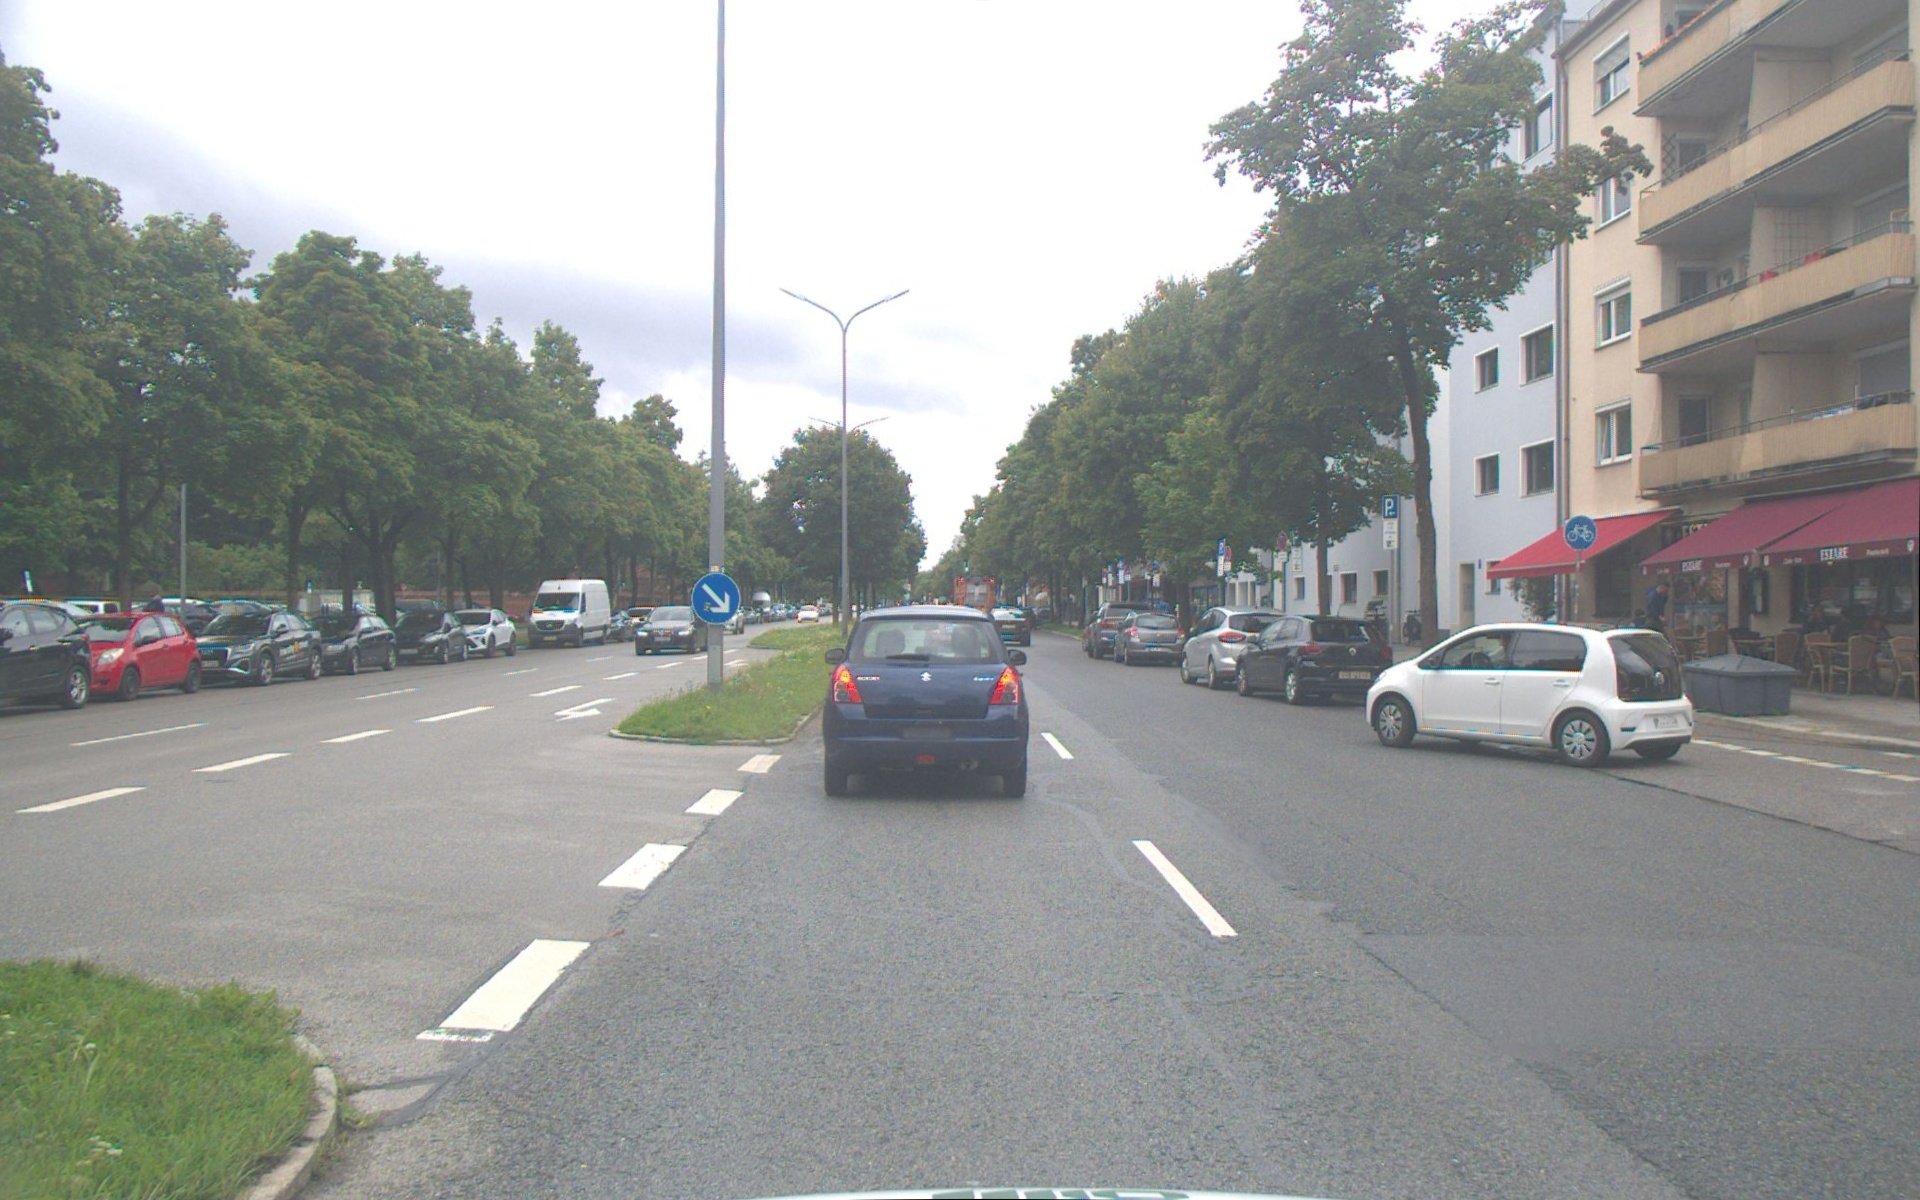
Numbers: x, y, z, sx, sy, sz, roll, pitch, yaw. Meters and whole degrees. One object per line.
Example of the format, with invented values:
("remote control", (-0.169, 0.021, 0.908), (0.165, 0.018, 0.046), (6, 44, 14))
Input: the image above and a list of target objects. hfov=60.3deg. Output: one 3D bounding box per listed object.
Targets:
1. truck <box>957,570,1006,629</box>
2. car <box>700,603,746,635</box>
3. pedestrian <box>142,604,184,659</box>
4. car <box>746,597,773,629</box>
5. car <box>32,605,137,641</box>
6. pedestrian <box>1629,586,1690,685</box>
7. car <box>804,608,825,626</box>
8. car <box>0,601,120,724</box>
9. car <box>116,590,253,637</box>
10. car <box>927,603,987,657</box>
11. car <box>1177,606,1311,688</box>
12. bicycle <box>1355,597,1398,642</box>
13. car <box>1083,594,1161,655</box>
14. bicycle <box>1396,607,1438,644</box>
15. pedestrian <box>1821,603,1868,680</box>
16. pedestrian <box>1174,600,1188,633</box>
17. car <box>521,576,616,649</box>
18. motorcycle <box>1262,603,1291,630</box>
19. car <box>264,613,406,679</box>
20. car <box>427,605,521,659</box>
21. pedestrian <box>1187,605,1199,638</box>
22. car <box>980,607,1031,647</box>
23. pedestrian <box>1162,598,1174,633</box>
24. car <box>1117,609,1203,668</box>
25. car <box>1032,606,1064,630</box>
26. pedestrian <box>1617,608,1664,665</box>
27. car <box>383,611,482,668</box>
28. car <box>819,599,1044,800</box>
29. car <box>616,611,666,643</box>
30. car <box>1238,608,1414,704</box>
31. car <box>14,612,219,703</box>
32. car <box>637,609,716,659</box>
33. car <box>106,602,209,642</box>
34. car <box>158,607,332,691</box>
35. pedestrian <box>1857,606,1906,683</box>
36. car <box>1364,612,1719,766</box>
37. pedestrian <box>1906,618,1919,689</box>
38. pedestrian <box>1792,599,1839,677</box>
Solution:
("truck", (1.335, -0.011, 109.722), (2.979, 3.619, 13.672), (0, 0, 0))
("car", (-12.570, 0.989, 87.786), (1.813, 1.628, 4.402), (-2, 0, -1))
("pedestrian", (-22.360, 0.877, 46.403), (0.778, 1.521, 0.856), (0, 0, -1))
("car", (-19.143, 1.250, 157.933), (2.142, 3.005, 6.187), (1, 0, -4))
("car", (-40.134, 1.059, 75.893), (3.903, 1.624, 1.771), (0, 0, 4))
("pedestrian", (14.052, 0.711, 33.248), (0.854, 1.963, 0.757), (0, 0, -17))
("car", (-13.226, 1.542, 150.622), (1.726, 1.564, 4.311), (-3, 0, -4))
("car", (-14.375, 0.899, 24.507), (1.785, 1.729, 4.237), (0, -1, -2))
("car", (-26.855, 0.469, 57.367), (3.905, 1.598, 1.814), (0, 0, 0))
("car", (-0.138, 0.863, 49.449), (1.684, 1.527, 4.299), (1, 0, -1))
("car", (5.681, 0.904, 33.607), (1.792, 1.549, 4.521), (0, 0, -2))
("bicycle", (13.824, 0.650, 54.971), (0.688, 1.432, 2.592), (-2, 0, -1))
("car", (4.955, 0.731, 51.207), (1.792, 1.777, 4.506), (0, 0, -2))
("bicycle", (14.011, 0.782, 50.743), (0.609, 1.064, 2.195), (-4, 0, -1))
("pedestrian", (14.941, 0.695, 27.932), (0.527, 1.290, 0.486), (0, 0, -2))
("pedestrian", (11.092, 0.820, 82.998), (0.537, 1.658, 0.641), (-1, 0, -1))
("car", (-15.392, 0.455, 65.481), (2.096, 2.690, 7.104), (-1, 0, -1))
("motorcycle", (13.449, 0.681, 70.328), (0.745, 1.105, 2.199), (0, 0, -1))
("car", (-14.961, 1.077, 39.816), (1.784, 1.434, 4.000), (-2, 0, 1))
("car", (-15.105, 1.010, 51.607), (1.785, 1.554, 4.297), (-2, -1, -2))
("pedestrian", (11.749, 1.076, 83.413), (0.530, 1.669, 0.724), (0, 0, -1))
("car", (1.799, 1.074, 66.836), (1.785, 1.503, 4.689), (2, 0, -1))
("pedestrian", (10.431, 0.786, 82.938), (0.489, 1.764, 0.732), (0, 0, -1))
("car", (5.510, 1.032, 45.983), (1.792, 1.549, 3.769), (0, 0, -2))
("car", (6.291, 1.274, 118.621), (1.953, 1.671, 4.332), (0, 0, -1))
("pedestrian", (14.297, 0.768, 34.763), (0.728, 1.184, 0.646), (0, 0, -1))
("car", (-14.727, 1.077, 46.357), (1.786, 1.473, 3.995), (-1, 0, -5))
("car", (-0.225, 0.766, 14.664), (1.717, 1.531, 3.999), (0, 0, 0))
("car", (-15.624, 1.327, 81.142), (1.820, 1.517, 4.140), (0, -1, -2))
("car", (6.110, 0.886, 28.048), (1.794, 1.499, 3.883), (0, 0, -6))
("car", (-14.872, 0.997, 29.392), (1.785, 1.505, 3.808), (0, -1, -2))
("car", (-8.859, 1.037, 52.022), (1.779, 1.473, 4.780), (-1, 0, -2))
("car", (-42.206, 1.147, 87.028), (4.414, 2.070, 1.999), (0, 0, -2))
("car", (-14.713, 0.959, 34.285), (1.784, 1.627, 4.112), (0, 0, 0))
("pedestrian", (14.968, 0.717, 26.868), (0.527, 1.235, 0.487), (0, 0, -1))
("car", (6.364, 0.901, 18.343), (1.675, 1.516, 3.388), (0, 0, -38))
("pedestrian", (14.917, 0.818, 25.383), (0.527, 1.072, 0.487), (0, 0, -1))
("pedestrian", (15.079, 0.672, 29.156), (0.527, 1.362, 0.552), (0, 0, -2))
